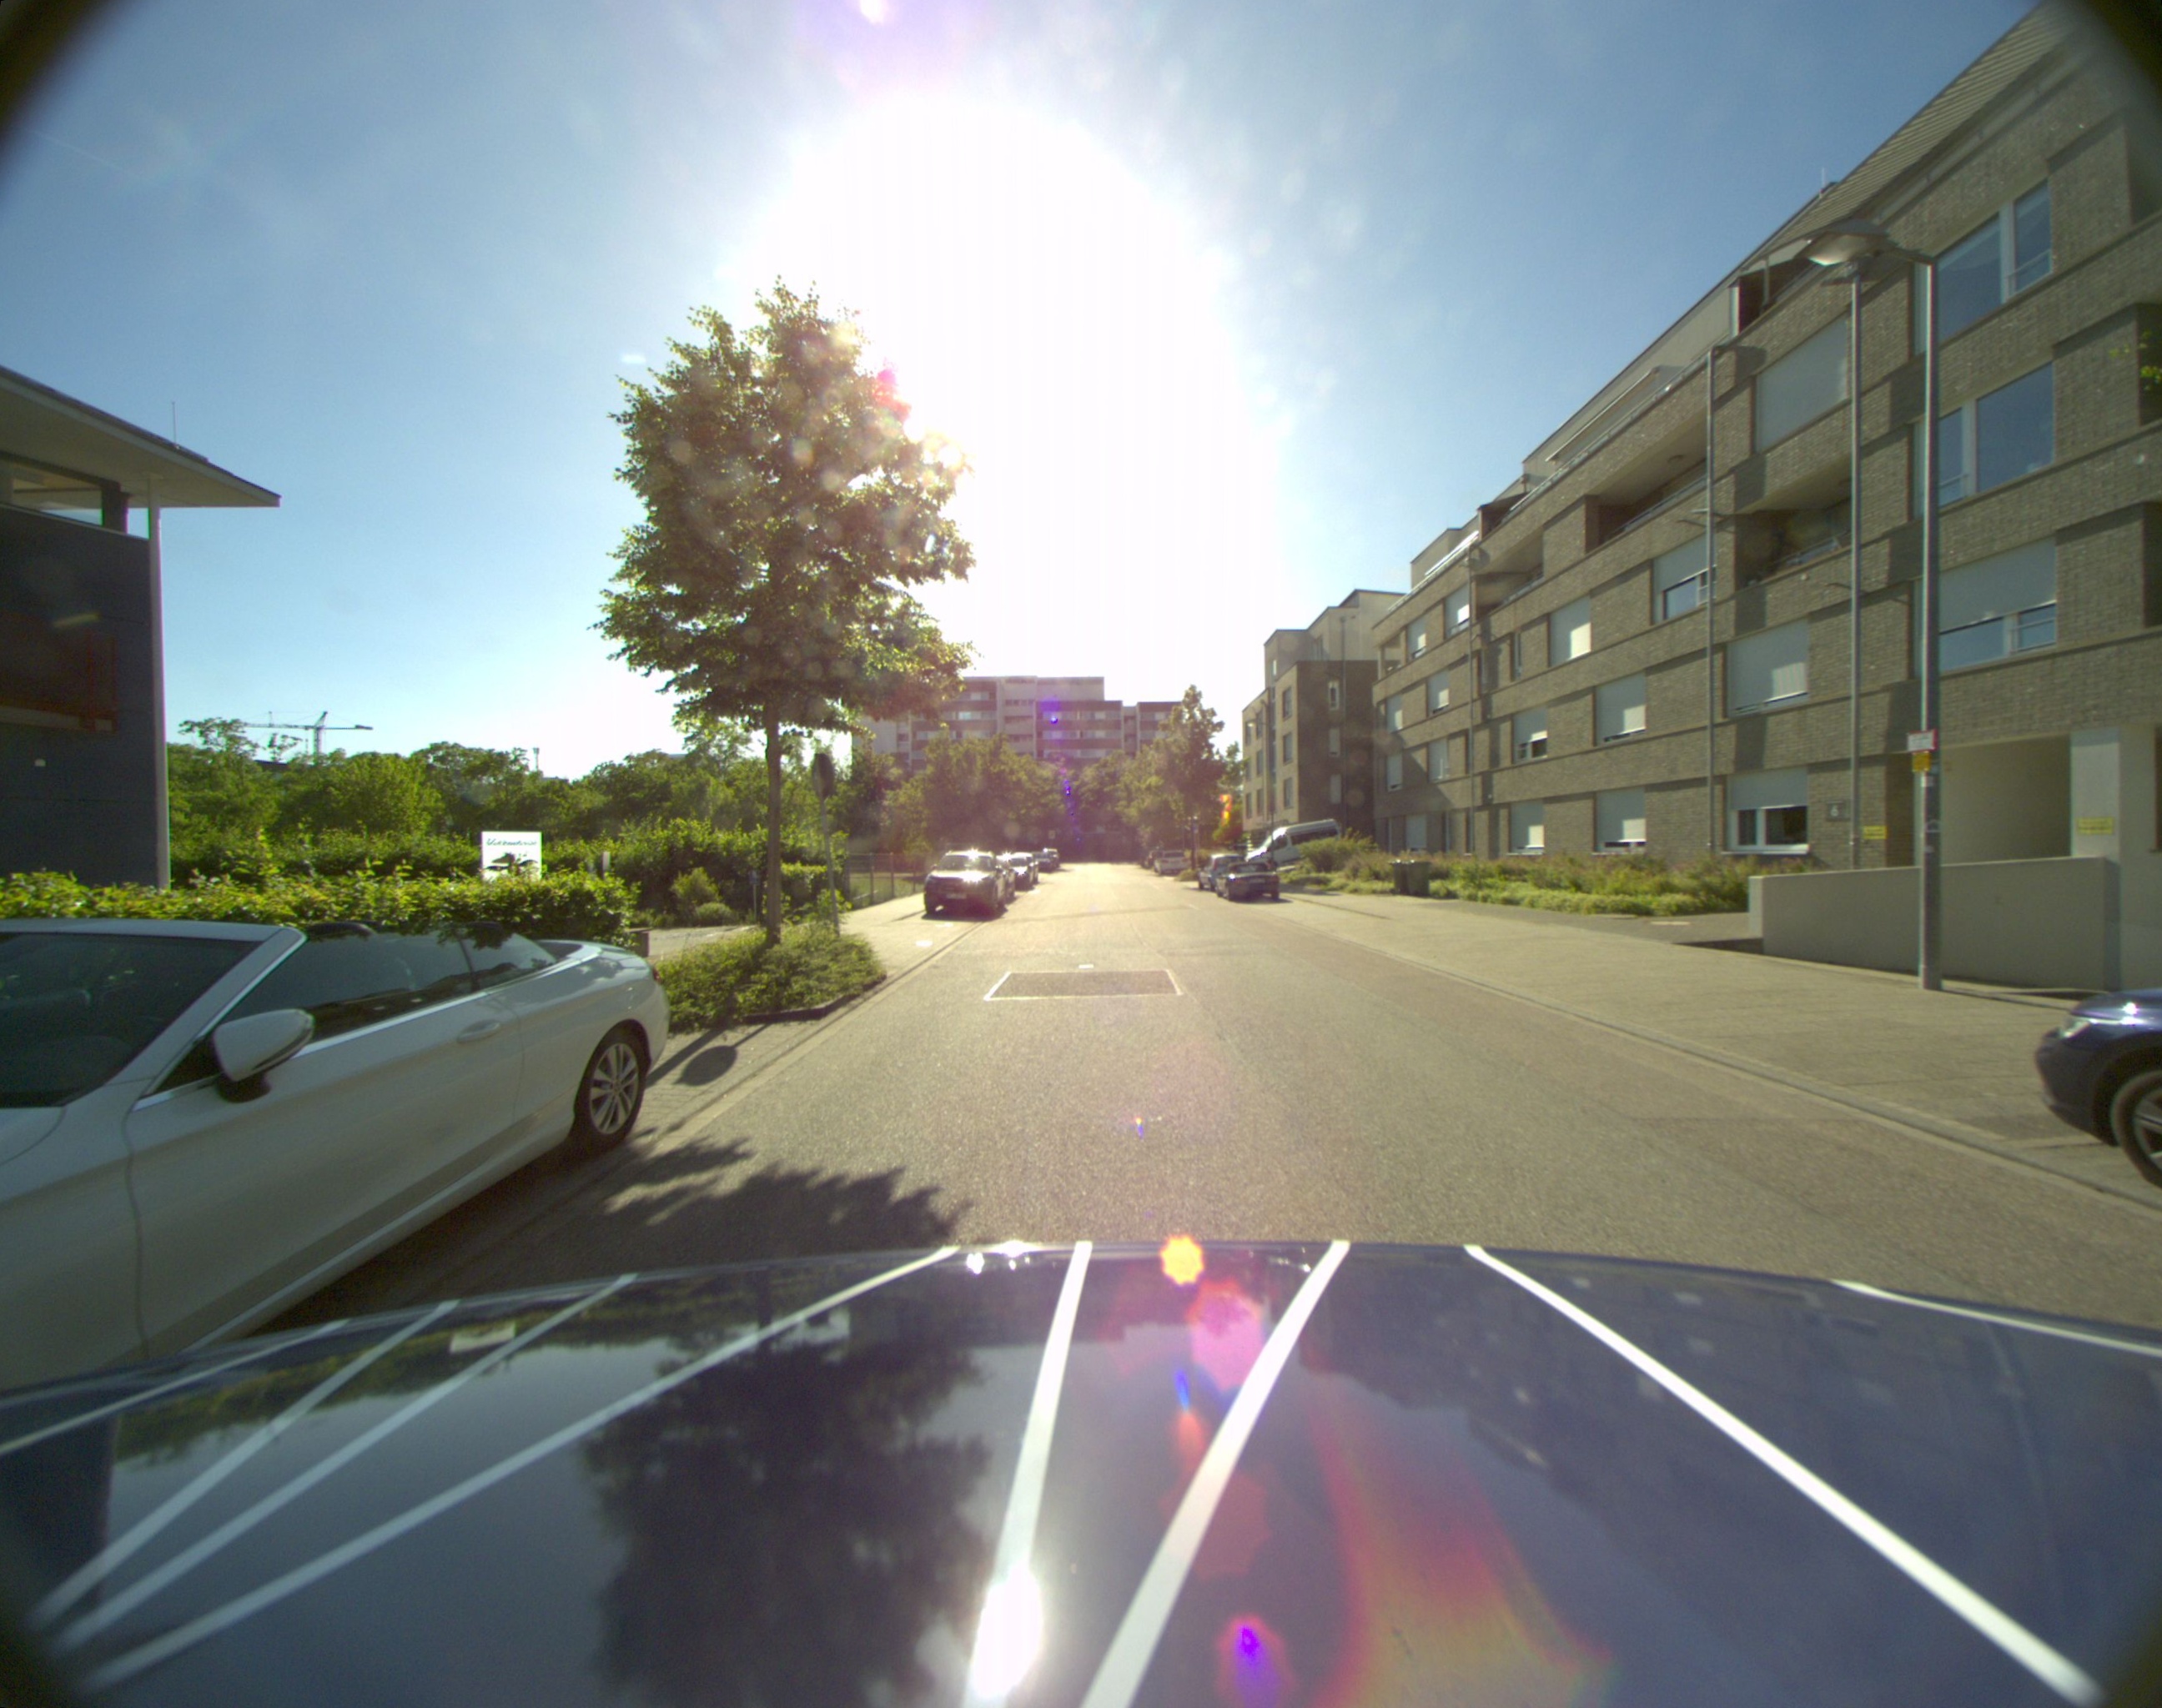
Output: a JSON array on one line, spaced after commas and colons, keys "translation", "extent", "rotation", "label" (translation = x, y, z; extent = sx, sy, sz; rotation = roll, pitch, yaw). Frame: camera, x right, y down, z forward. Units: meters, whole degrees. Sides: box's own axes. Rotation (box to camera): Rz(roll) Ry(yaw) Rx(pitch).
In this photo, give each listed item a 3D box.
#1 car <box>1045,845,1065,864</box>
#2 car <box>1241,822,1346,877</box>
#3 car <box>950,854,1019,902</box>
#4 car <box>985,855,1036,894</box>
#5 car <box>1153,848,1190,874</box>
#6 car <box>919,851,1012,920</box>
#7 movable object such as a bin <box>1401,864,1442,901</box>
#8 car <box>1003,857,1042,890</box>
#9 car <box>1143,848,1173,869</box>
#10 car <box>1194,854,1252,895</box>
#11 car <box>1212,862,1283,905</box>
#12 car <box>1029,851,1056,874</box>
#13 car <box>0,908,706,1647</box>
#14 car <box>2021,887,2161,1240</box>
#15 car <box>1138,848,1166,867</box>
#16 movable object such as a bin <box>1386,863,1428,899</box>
[{"translation": [-2.282, 0.025, 67.405], "extent": [1.645, 1.458, 3.702], "rotation": [3, 2, 0], "label": "car"}, {"translation": [11.558, -0.264, 41.476], "extent": [5.153, 2.885, 2.013], "rotation": [0, 1, -3], "label": "car"}, {"translation": [-3.247, 0.777, 26.348], "extent": [1.823, 1.458, 3.842], "rotation": [3, 0, 0], "label": "car"}, {"translation": [-3.022, 0.852, 33.389], "extent": [1.823, 1.458, 3.841], "rotation": [3, 2, 0], "label": "car"}, {"translation": [5.999, 0.452, 50.622], "extent": [1.795, 1.590, 3.889], "rotation": [-2, 0, -2], "label": "car"}, {"translation": [-3.090, 0.781, 21.269], "extent": [1.823, 1.638, 4.488], "rotation": [3, 0, 0], "label": "car"}, {"translation": [10.129, 0.838, 22.611], "extent": [0.862, 1.031, 0.677], "rotation": [-4, 1, -2], "label": "movable object such as a bin"}, {"translation": [-2.963, 0.974, 39.208], "extent": [1.645, 1.458, 3.702], "rotation": [3, 2, 0], "label": "car"}, {"translation": [5.986, 0.349, 59.409], "extent": [1.795, 1.509, 3.889], "rotation": [-2, 0, -2], "label": "car"}, {"translation": [5.661, 0.785, 30.649], "extent": [1.631, 1.515, 3.562], "rotation": [0, 0, 0], "label": "car"}, {"translation": [5.469, 0.945, 25.343], "extent": [1.631, 1.240, 3.562], "rotation": [-2, 0, 1], "label": "car"}, {"translation": [-2.770, 0.552, 54.928], "extent": [1.645, 1.458, 3.702], "rotation": [3, 2, 0], "label": "car"}, {"translation": [-3.367, 1.041, 2.595], "extent": [1.968, 1.312, 4.774], "rotation": [2, 0, -3], "label": "car"}, {"translation": [5.516, 0.889, 1.656], "extent": [1.845, 1.465, 4.099], "rotation": [-3, 0, 0], "label": "car"}, {"translation": [5.989, 0.259, 64.588], "extent": [1.795, 1.509, 3.889], "rotation": [-2, 0, -2], "label": "car"}, {"translation": [10.014, 0.831, 23.360], "extent": [0.921, 1.031, 0.681], "rotation": [-4, 1, -2], "label": "movable object such as a bin"}]
